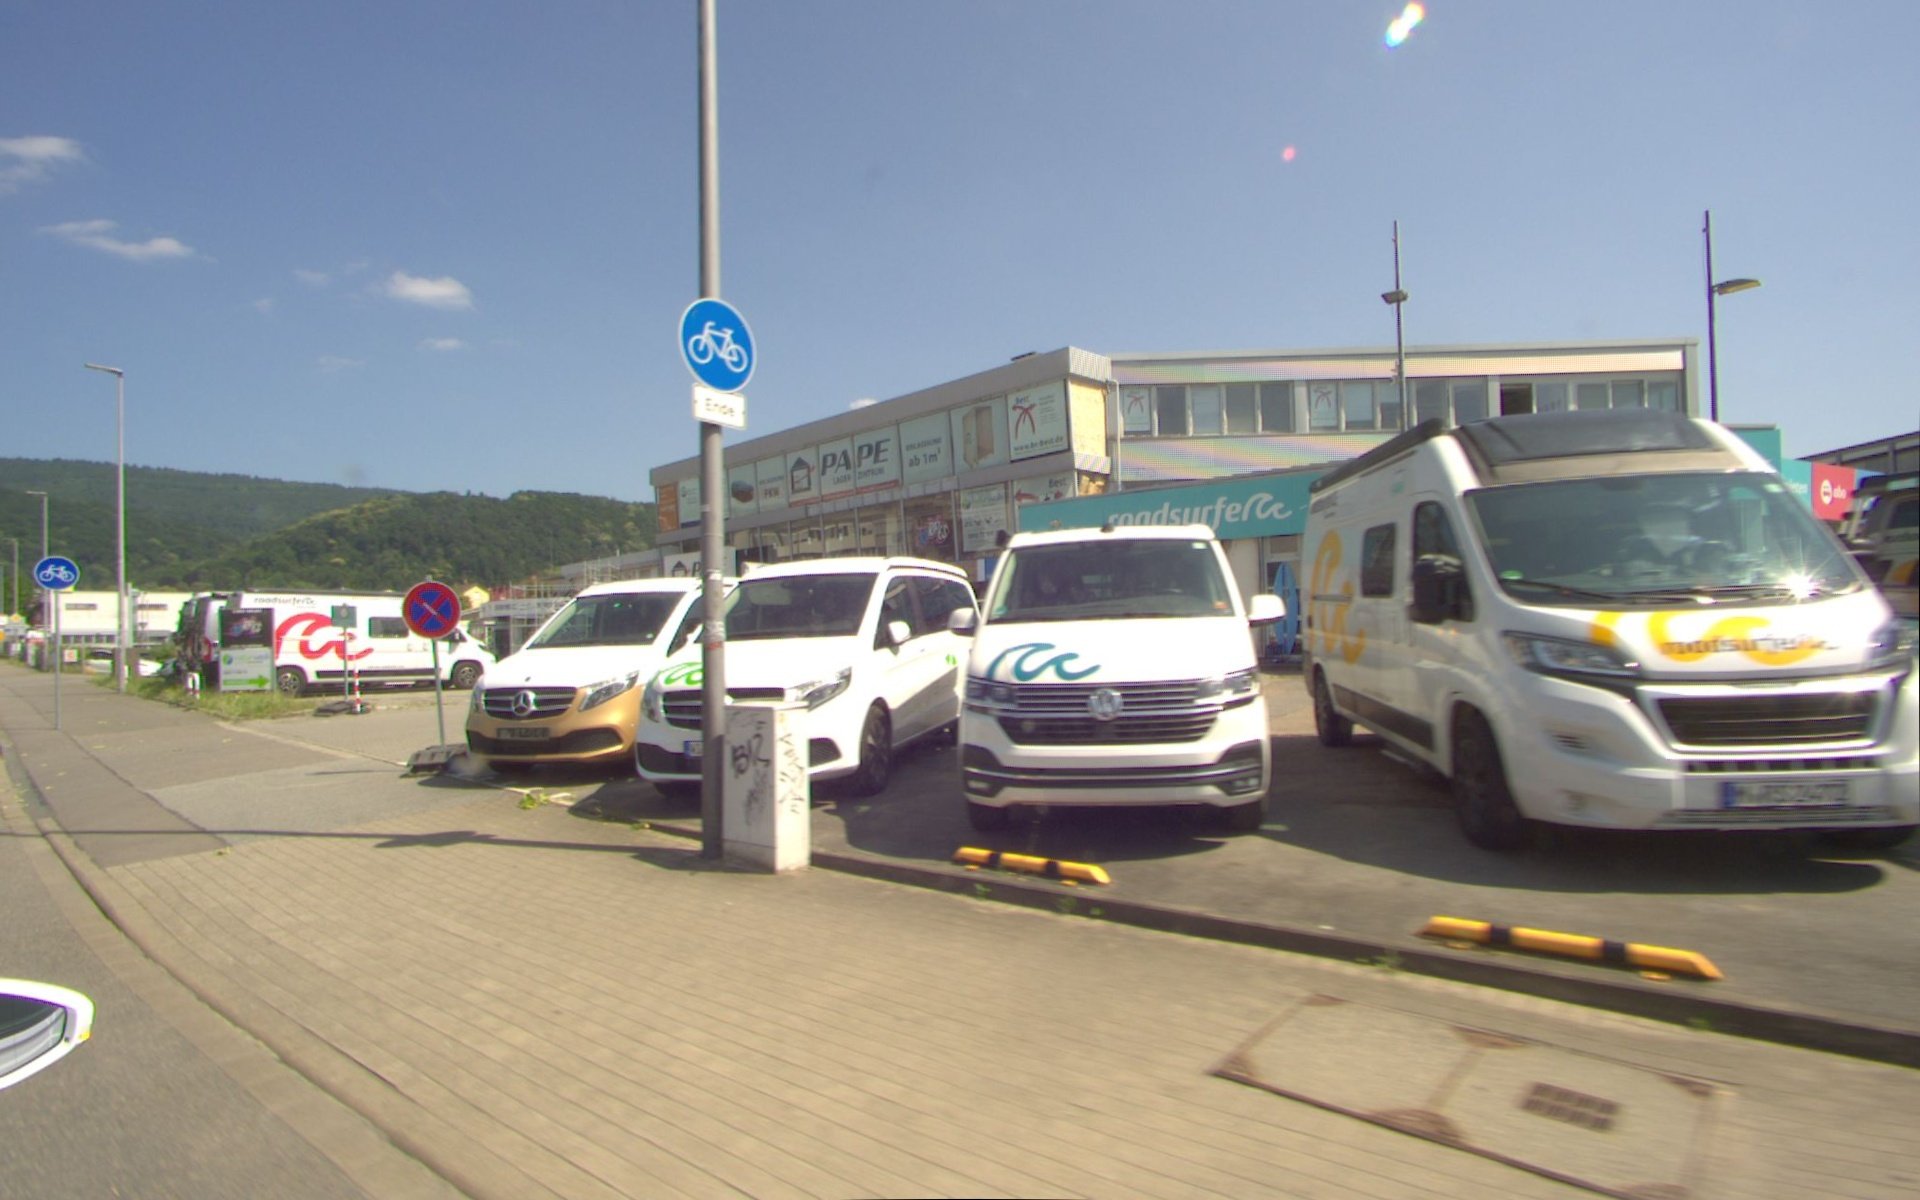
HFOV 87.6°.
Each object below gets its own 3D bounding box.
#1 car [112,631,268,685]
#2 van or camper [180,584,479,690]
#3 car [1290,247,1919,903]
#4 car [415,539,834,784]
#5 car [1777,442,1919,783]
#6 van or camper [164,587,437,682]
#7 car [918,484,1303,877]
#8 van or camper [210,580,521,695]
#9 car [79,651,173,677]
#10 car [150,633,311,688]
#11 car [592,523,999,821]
[{"bbox_3d":[-27.620,2.061,35.987,4.273,1.773,1.960,1,-4,-44],"label":"car"},{"bbox_3d":[-17.652,1.035,28.262,6.563,2.594,3.716,1,-3,-44],"label":"van or camper"},{"bbox_3d":[4.142,-0.026,7.292,2.262,2.752,6.157,-1,-1,8],"label":"car"},{"bbox_3d":[-3.371,0.662,11.437,2.012,2.120,5.155,-3,-2,15],"label":"car"},{"bbox_3d":[6.870,0.048,4.775,2.057,2.141,5.225,-3,0,7],"label":"car"},{"bbox_3d":[-20.206,1.053,30.906,6.563,2.594,3.368,1,-3,-44],"label":"van or camper"},{"bbox_3d":[1.249,0.503,7.894,1.987,2.026,5.158,-2,-1,11],"label":"car"},{"bbox_3d":[-15.199,0.958,25.910,6.463,2.594,2.946,1,-2,-44],"label":"van or camper"},{"bbox_3d":[-45.423,3.474,54.595,3.632,1.327,1.659,-1,-2,-5],"label":"car"},{"bbox_3d":[-25.038,2.059,34.450,4.273,1.773,1.960,1,-4,-44],"label":"car"},{"bbox_3d":[-1.127,0.546,9.605,1.895,2.040,5.145,-1,-1,15],"label":"car"}]
